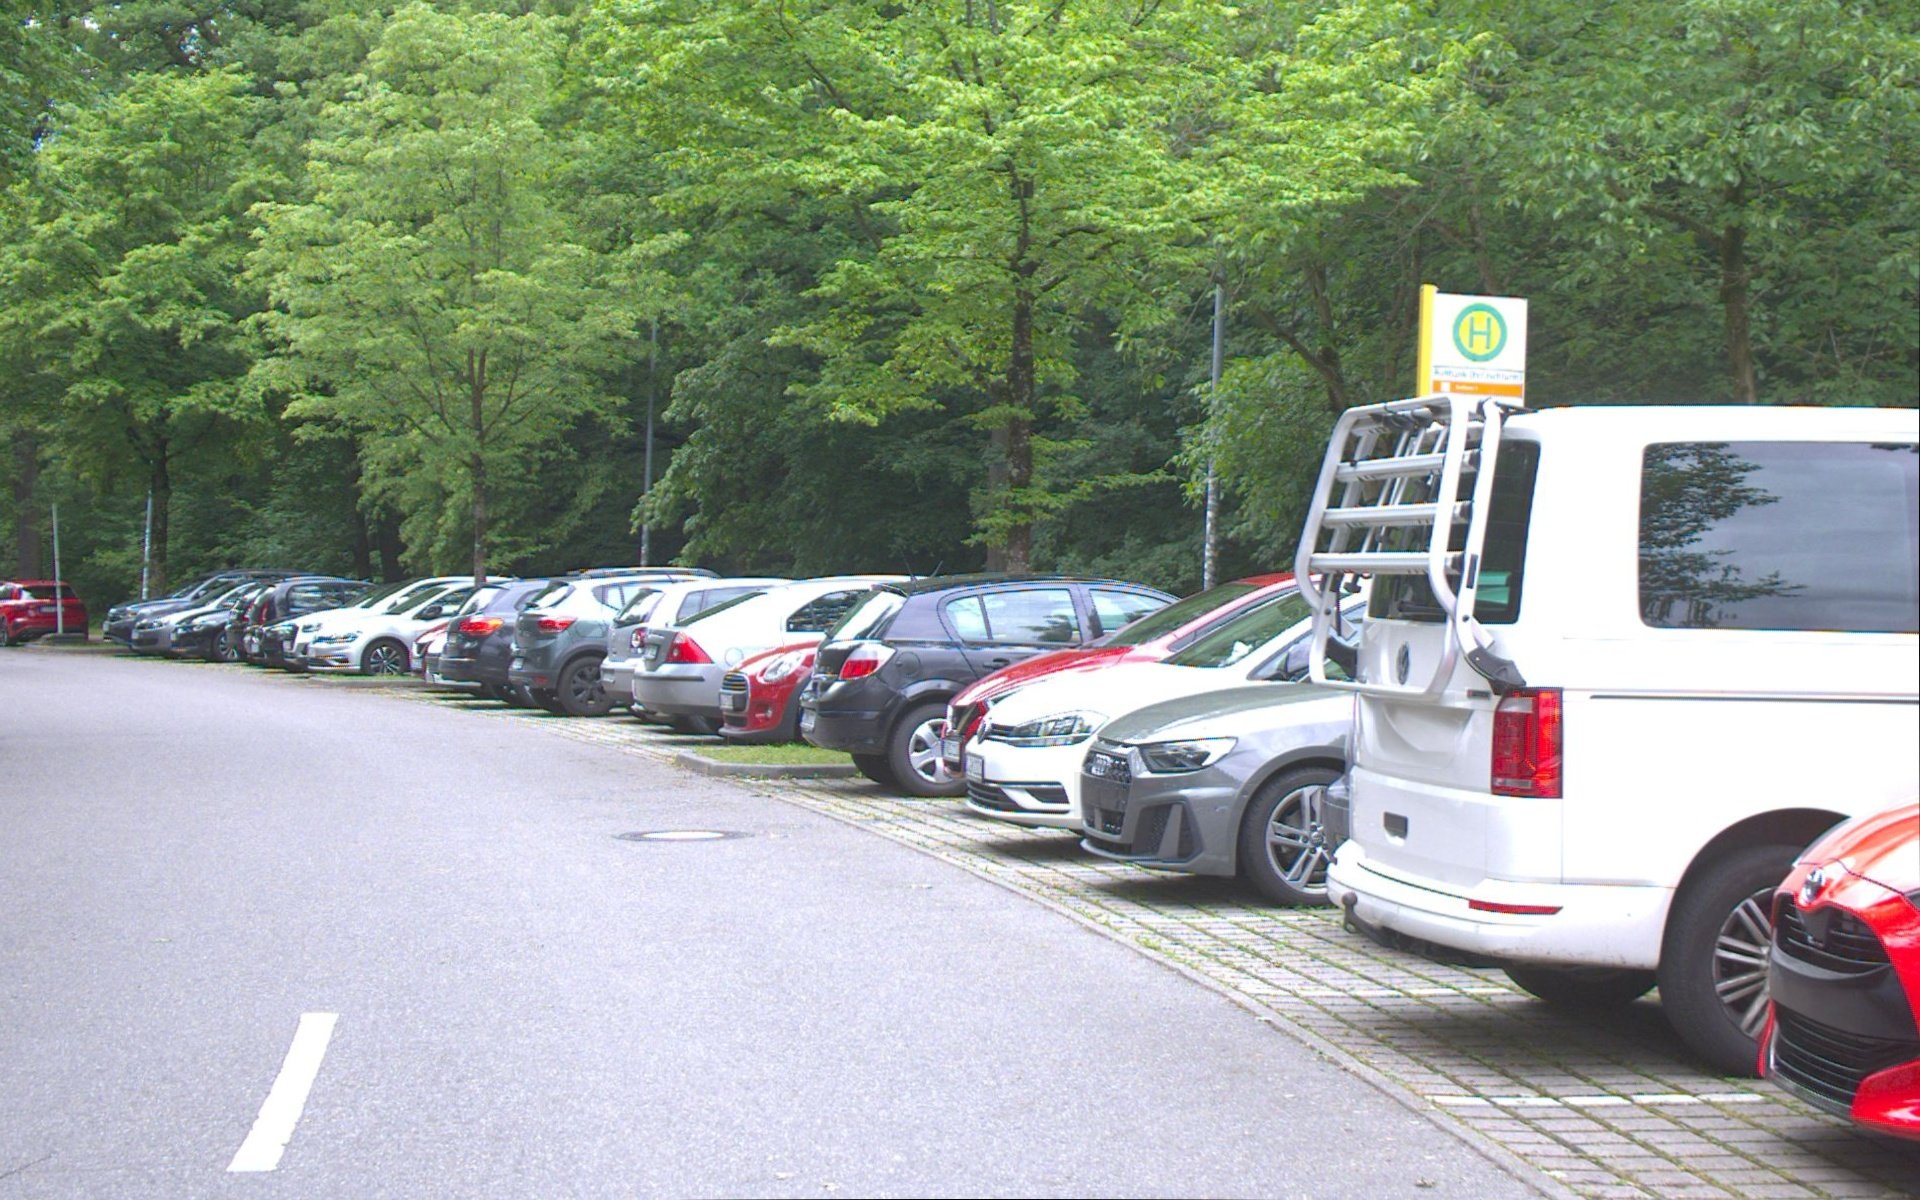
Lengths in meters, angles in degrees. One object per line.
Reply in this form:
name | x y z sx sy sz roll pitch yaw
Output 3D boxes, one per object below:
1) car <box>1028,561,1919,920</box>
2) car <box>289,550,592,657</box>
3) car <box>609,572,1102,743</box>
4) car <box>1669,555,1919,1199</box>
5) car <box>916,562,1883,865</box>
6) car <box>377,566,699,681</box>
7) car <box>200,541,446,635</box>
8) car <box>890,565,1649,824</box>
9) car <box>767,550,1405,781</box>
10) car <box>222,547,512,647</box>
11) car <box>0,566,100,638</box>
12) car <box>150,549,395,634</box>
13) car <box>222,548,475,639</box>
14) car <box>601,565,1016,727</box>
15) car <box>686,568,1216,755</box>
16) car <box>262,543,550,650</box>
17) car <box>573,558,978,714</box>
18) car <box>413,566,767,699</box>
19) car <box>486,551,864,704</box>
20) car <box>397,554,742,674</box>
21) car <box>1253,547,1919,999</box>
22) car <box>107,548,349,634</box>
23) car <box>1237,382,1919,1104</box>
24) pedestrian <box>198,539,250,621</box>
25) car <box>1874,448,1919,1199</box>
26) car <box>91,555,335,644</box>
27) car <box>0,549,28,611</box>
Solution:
car | 2.484 0.638 15.986 3.986 1.478 1.878 2 0 -11
car | -7.537 0.041 49.890 3.975 1.478 1.884 0 1 -24
car | -0.967 0.483 30.938 4.125 1.456 1.866 0 0 -15
car | 3.965 0.746 8.317 3.996 1.550 1.947 2 2 -3
car | 2.271 0.559 18.350 4.770 1.471 1.853 0 2 -9
car | -5.583 0.289 45.530 3.794 1.436 1.871 0 2 -28
car | -10.988 -0.229 59.246 3.826 1.526 1.851 -1 1 -24
car | 1.839 0.541 21.017 4.227 1.475 1.920 0 1 -12
car | 0.807 0.405 23.418 3.986 1.478 1.923 0 1 -12
car | -9.424 -0.061 54.598 4.186 1.506 1.894 0 2 -25
car | -20.325 0.023 74.973 1.993 1.474 4.972 0 1 -27
car | -12.326 -0.155 61.636 3.986 1.470 1.953 0 1 -23
car | -10.165 -0.127 57.163 3.826 1.452 1.809 -1 1 -23
car | -1.486 0.417 33.266 3.700 1.505 1.752 0 0 -16
car | -0.102 0.467 28.405 3.986 1.445 1.942 0 1 -17
car | -8.437 -0.066 52.263 4.007 1.553 1.978 0 1 -20
car | -1.912 0.348 35.455 3.841 1.540 1.731 0 1 -19
car | -4.336 0.361 40.229 3.767 1.476 1.774 0 1 -22
car | -3.137 0.281 37.595 3.767 1.584 1.950 0 1 -17
car | -4.874 0.160 42.821 3.931 1.406 1.879 0 1 -20
car | 3.257 0.669 13.769 3.721 1.549 1.847 2 3 -11
car | -13.614 -0.185 63.955 3.987 1.546 1.976 0 1 -30
car | 3.445 0.435 11.057 4.647 2.014 2.084 2 2 -9
pedestrian | -15.547 -0.419 72.624 0.817 1.720 1.004 0 0 -27
car | 4.152 0.574 5.914 4.519 1.687 2.166 0 1 -4
car | -14.400 -0.012 66.263 4.265 1.660 1.958 0 1 -25
car | -23.007 -0.488 79.927 1.725 1.418 4.284 0 1 -27
